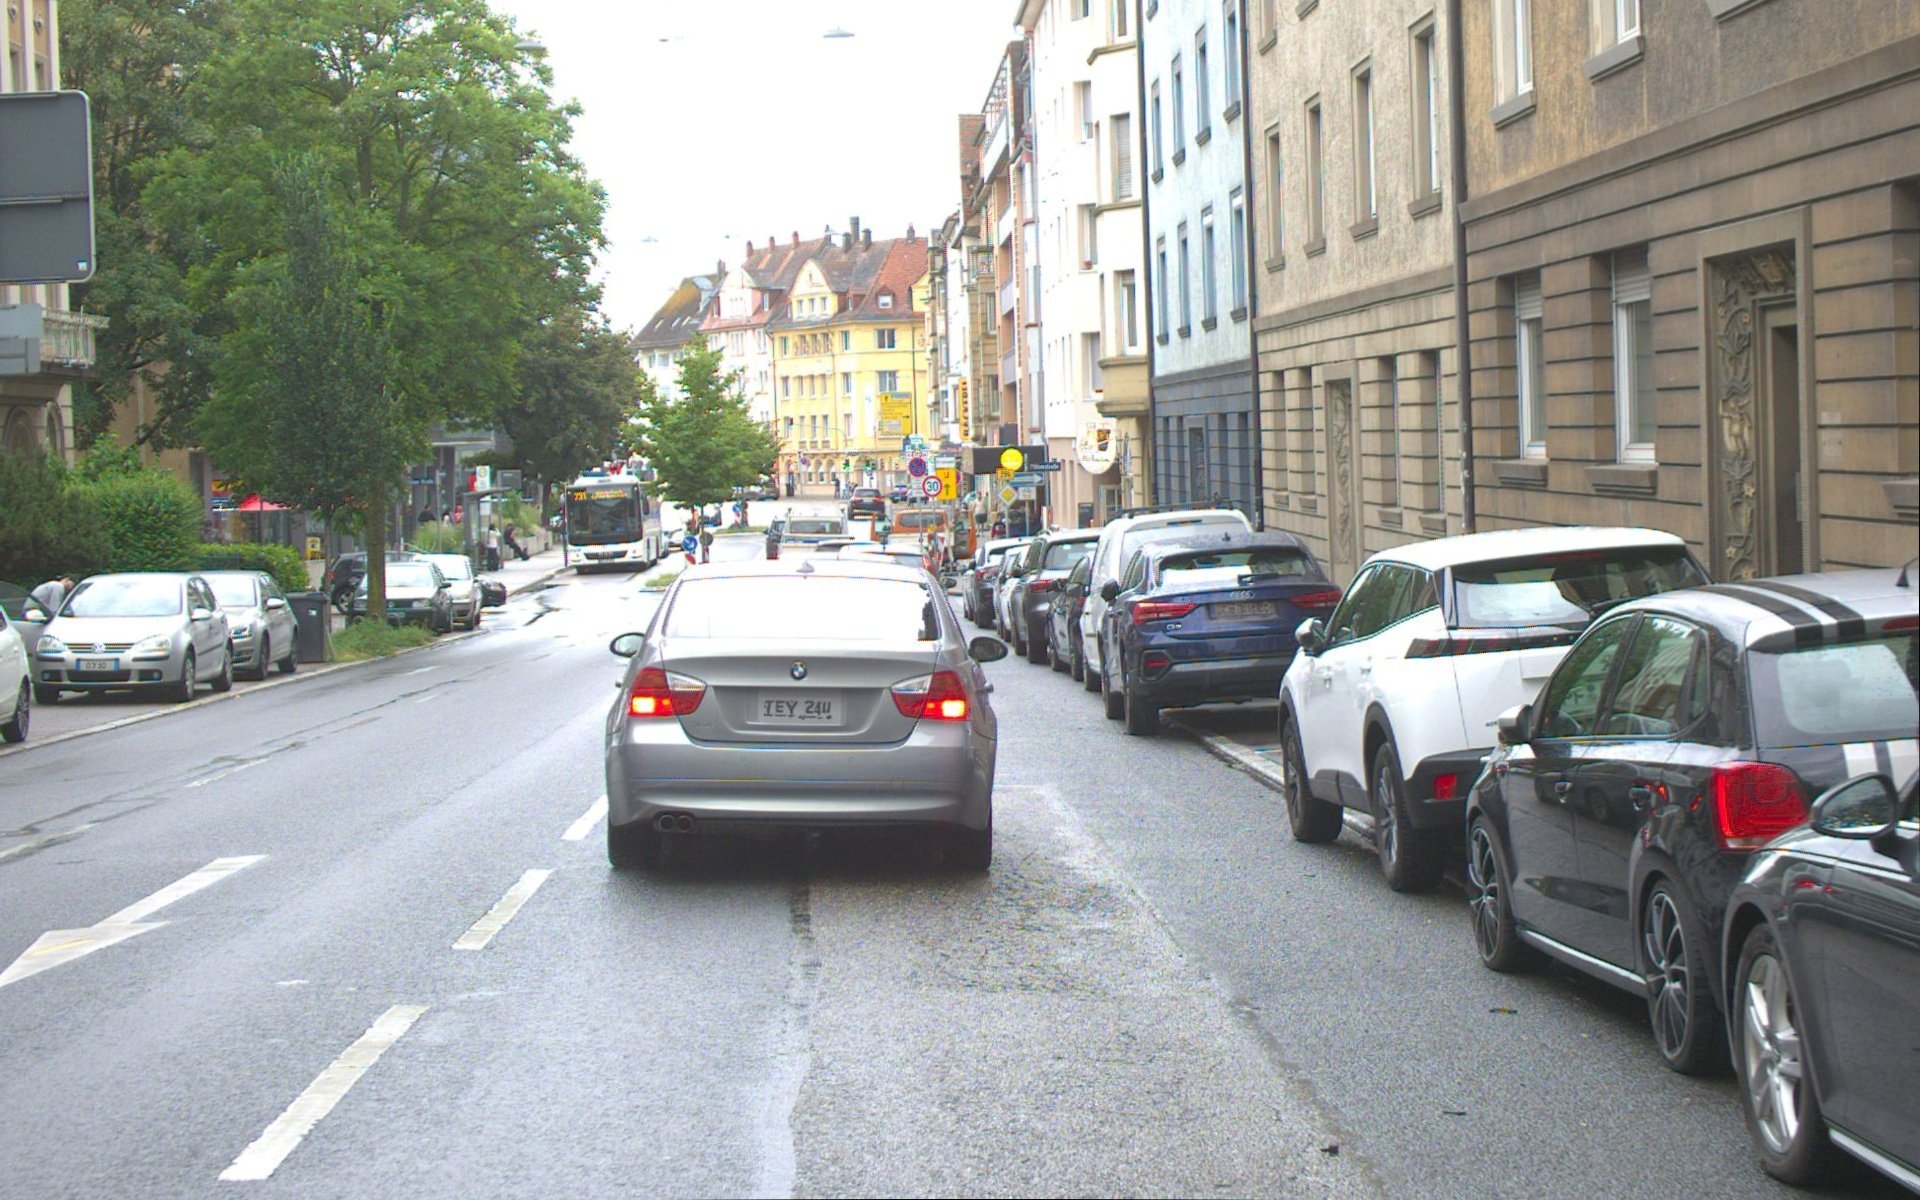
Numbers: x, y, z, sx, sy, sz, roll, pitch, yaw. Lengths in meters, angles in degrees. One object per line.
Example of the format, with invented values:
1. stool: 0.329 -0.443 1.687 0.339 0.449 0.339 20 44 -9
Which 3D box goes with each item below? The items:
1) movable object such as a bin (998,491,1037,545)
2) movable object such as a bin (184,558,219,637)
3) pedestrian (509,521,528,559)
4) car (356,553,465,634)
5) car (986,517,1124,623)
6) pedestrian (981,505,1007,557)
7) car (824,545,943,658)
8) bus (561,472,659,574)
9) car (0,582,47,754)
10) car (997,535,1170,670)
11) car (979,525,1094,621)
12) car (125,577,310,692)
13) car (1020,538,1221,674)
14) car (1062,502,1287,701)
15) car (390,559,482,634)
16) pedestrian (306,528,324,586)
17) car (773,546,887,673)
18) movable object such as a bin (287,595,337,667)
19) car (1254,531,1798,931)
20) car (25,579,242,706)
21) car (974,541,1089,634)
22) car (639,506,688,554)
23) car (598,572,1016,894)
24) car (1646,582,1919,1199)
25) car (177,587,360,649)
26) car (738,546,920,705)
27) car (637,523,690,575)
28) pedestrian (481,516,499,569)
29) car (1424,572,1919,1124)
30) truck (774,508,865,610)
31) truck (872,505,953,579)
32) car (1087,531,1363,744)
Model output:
1. movable object such as a bin: 1.890 -2.693 113.091 1.122 1.697 1.434 -2 0 -4
2. movable object such as a bin: -12.733 -0.051 57.716 0.439 1.304 0.650 -1 1 -3
3. pedestrian: -16.555 -2.250 129.022 0.619 1.373 0.544 2 0 -1
4. car: -10.458 -0.138 65.598 1.653 1.449 3.943 -1 1 -4
5. car: 1.393 -0.468 51.978 1.729 1.424 3.974 -4 1 -2
6. pedestrian: 1.113 -2.234 111.572 0.750 1.655 0.754 2 0 4
7. car: -0.965 0.021 44.335 1.435 1.352 3.762 2 0 -1
8. bus: -12.044 -2.588 119.153 2.681 3.190 11.957 2 0 -3
9. car: -9.248 0.608 30.173 1.645 1.503 3.797 -1 0 -3
10. car: 1.571 0.017 45.136 1.840 1.615 4.209 -3 1 -3
11. car: 1.221 -0.457 56.329 1.583 1.424 3.595 -4 1 -2
12. car: -9.950 0.432 46.326 1.682 1.385 3.936 -2 1 -1
13. car: 1.820 0.039 40.290 1.840 1.404 4.388 -3 1 -3
14. car: 2.105 -0.024 34.771 1.790 1.811 4.080 -3 1 -2
15. car: -10.658 -0.095 70.087 1.631 1.449 3.840 -1 1 -6
16. pedestrian: -20.032 -1.332 106.803 0.464 1.784 0.545 2 0 -8
17. car: -2.200 0.155 57.395 1.705 2.007 4.001 2 0 -4
18. movable object such as a bin: -9.702 0.461 51.464 0.630 1.054 0.600 -2 0 -2
19. car: 2.551 0.528 16.486 1.632 1.633 4.196 2 1 -4
20. car: -9.644 0.459 40.367 1.682 1.385 3.909 0 1 -1
21. car: 1.274 -0.250 62.699 1.818 1.552 4.293 -3 1 -1
22. car: -13.388 -3.157 155.474 1.993 2.007 4.000 2 0 -3
23. car: -0.703 0.563 16.106 1.755 1.358 3.165 0 0 -2
24. car: 2.761 0.691 6.418 1.777 1.474 4.588 -2 0 -3
25. car: -15.514 0.399 77.295 3.815 1.385 1.743 0 0 -3
26. car: -1.307 0.229 33.157 1.601 1.415 3.288 2 0 -4
27. car: -12.060 -2.058 139.958 1.993 2.007 4.000 1 0 -3
28. pedestrian: -15.493 -1.897 113.281 0.542 1.703 0.466 2 0 -8
29. car: 2.713 0.675 11.222 1.632 1.473 3.735 2 1 -4
30. truck: -3.681 -1.034 89.530 2.216 2.535 4.780 2 0 -3
31. truck: -1.491 -1.772 106.101 2.215 2.109 4.653 3 0 -3
32. car: 2.107 0.248 28.442 1.790 1.543 4.226 -3 1 -1
